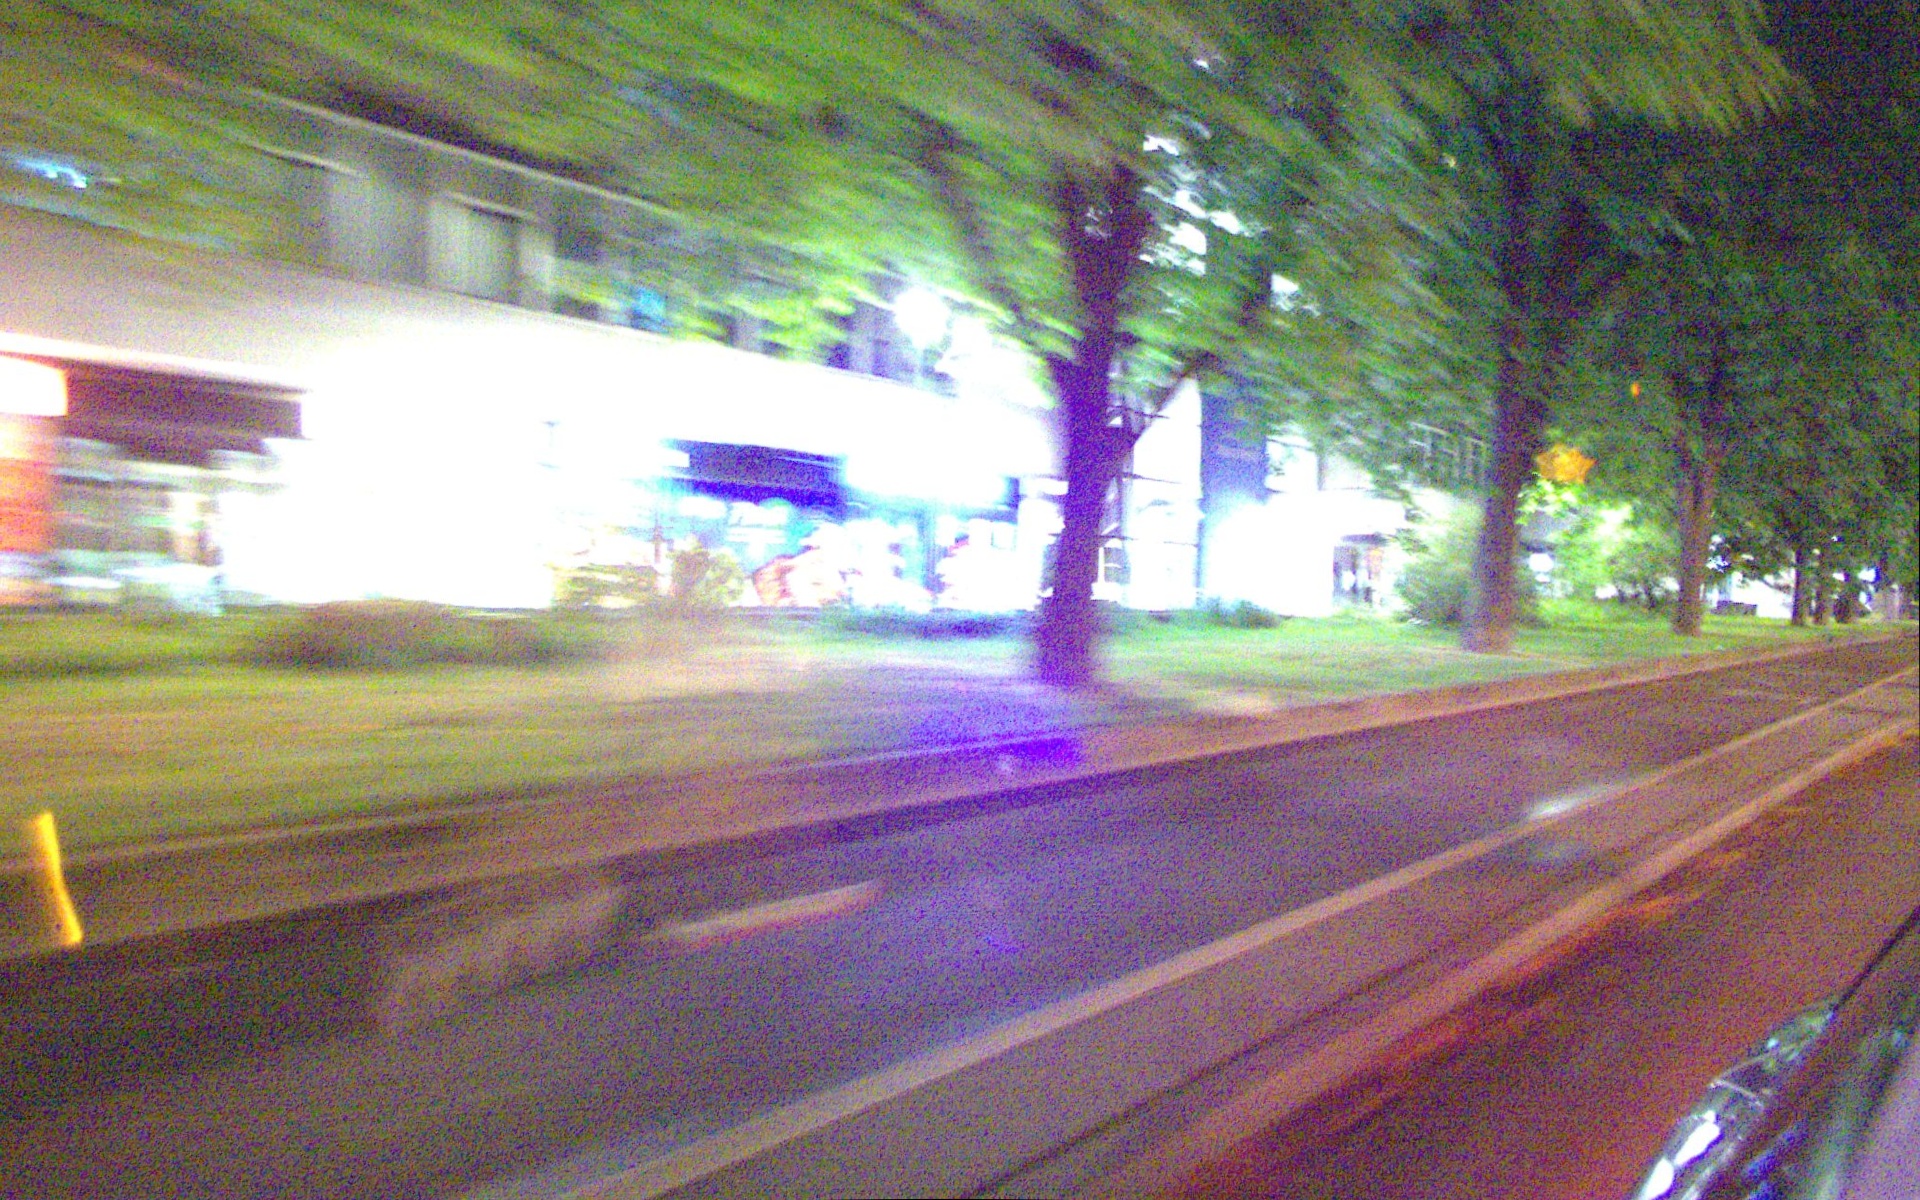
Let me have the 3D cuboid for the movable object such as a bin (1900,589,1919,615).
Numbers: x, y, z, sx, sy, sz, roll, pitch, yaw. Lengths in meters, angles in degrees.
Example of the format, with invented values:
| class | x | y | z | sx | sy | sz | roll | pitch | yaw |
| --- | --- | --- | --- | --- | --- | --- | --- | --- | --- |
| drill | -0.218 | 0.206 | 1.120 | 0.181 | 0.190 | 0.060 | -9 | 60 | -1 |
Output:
| class | x | y | z | sx | sy | sz | roll | pitch | yaw |
| --- | --- | --- | --- | --- | --- | --- | --- | --- | --- |
| movable object such as a bin | 52.617 | 0.127 | 55.711 | 0.976 | 1.388 | 1.162 | 0 | 1 | -42 |

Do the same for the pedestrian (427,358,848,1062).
| class | x | y | z | sx | sy | sz | roll | pitch | yaw |
| --- | --- | --- | --- | --- | --- | --- | --- | --- | --- |
| pedestrian | -1.025 | 0.277 | 3.251 | 1.063 | 1.841 | 0.704 | 1 | 2 | -41 |
